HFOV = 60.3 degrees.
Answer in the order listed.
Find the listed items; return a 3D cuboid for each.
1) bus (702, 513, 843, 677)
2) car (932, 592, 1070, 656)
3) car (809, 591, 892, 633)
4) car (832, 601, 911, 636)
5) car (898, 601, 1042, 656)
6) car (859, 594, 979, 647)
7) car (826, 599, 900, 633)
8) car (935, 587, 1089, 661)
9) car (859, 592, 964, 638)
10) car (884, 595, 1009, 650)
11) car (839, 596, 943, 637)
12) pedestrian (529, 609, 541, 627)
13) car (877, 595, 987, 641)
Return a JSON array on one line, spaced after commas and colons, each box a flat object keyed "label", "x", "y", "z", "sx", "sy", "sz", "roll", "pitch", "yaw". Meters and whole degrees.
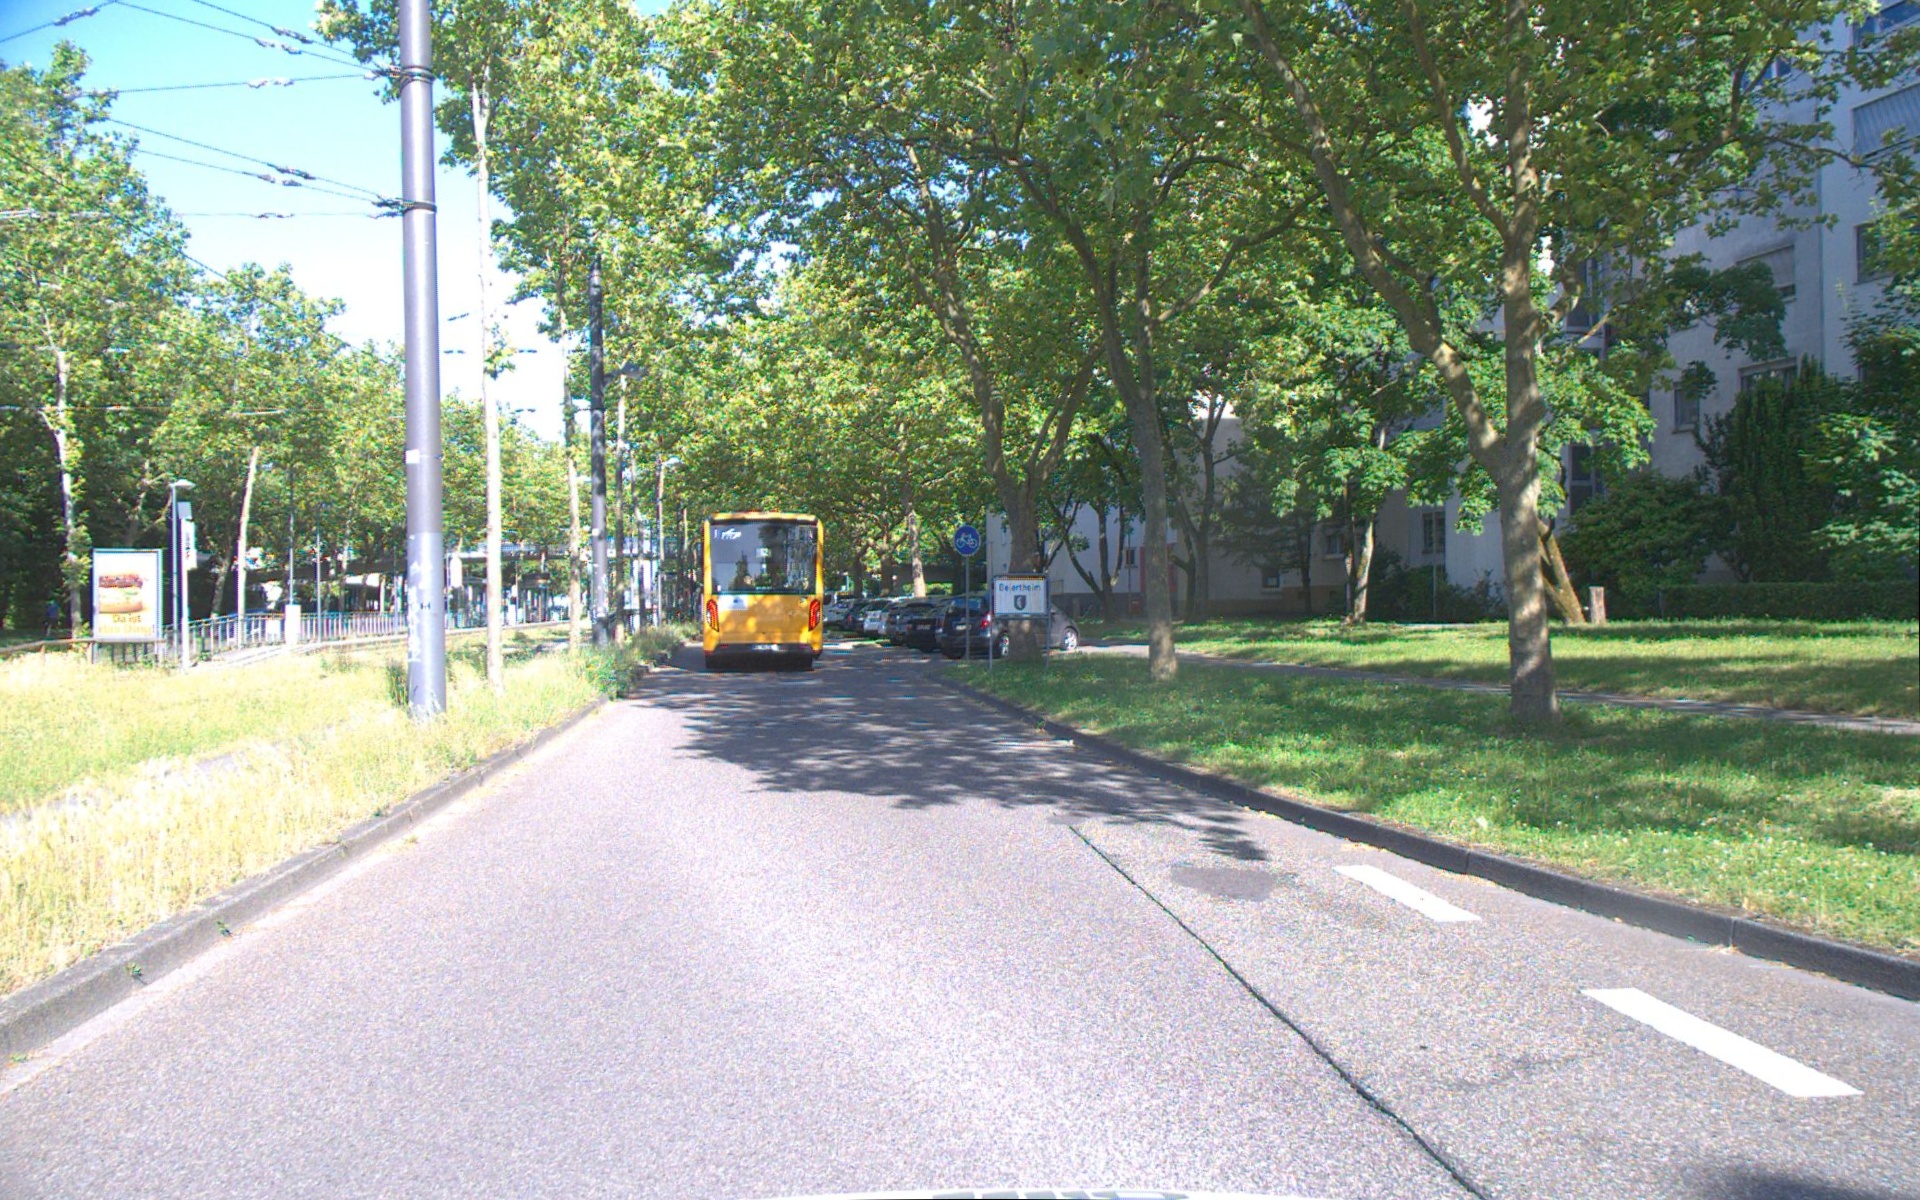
[{"label": "bus", "x": -4.734, "y": -0.077, "z": 39.944, "sx": 2.846, "sy": 3.324, "sz": 12.192, "roll": -1, "pitch": 0, "yaw": -9}, {"label": "car", "x": 1.118, "y": 0.612, "z": 43.537, "sx": 1.767, "sy": 1.518, "sz": 3.565, "roll": -2, "pitch": 0, "yaw": 40}, {"label": "car", "x": -6.159, "y": 0.671, "z": 93.786, "sx": 1.981, "sy": 2.088, "sz": 4.564, "roll": -3, "pitch": 0, "yaw": 42}, {"label": "car", "x": -4.491, "y": 0.922, "z": 84.499, "sx": 1.763, "sy": 1.536, "sz": 4.199, "roll": -3, "pitch": 0, "yaw": 34}, {"label": "car", "x": 0.327, "y": 0.774, "z": 46.369, "sx": 1.768, "sy": 1.341, "sz": 4.123, "roll": -2, "pitch": 0, "yaw": 41}, {"label": "car", "x": -1.285, "y": 0.646, "z": 53.649, "sx": 1.763, "sy": 1.536, "sz": 4.163, "roll": -2, "pitch": 0, "yaw": 35}, {"label": "car", "x": -5.300, "y": 0.868, "z": 90.704, "sx": 1.798, "sy": 1.607, "sz": 4.039, "roll": -3, "pitch": 0, "yaw": 39}, {"label": "car", "x": 1.294, "y": 0.561, "z": 40.172, "sx": 1.767, "sy": 1.620, "sz": 3.706, "roll": -2, "pitch": 0, "yaw": 41}, {"label": "car", "x": -1.825, "y": 0.569, "z": 63.539, "sx": 1.768, "sy": 1.603, "sz": 3.977, "roll": -2, "pitch": 0, "yaw": 41}, {"label": "car", "x": -0.366, "y": 0.675, "z": 50.196, "sx": 1.765, "sy": 1.471, "sz": 3.871, "roll": -2, "pitch": 0, "yaw": 38}, {"label": "car", "x": -2.810, "y": 0.665, "z": 68.129, "sx": 1.764, "sy": 1.447, "sz": 4.572, "roll": -2, "pitch": 0, "yaw": 37}, {"label": "pedestrian", "x": -29.886, "y": 1.232, "z": 116.234, "sx": 0.763, "sy": 1.259, "sz": 0.720, "roll": 0, "pitch": 0, "yaw": -9}, {"label": "car", "x": -0.978, "y": 0.634, "z": 59.782, "sx": 1.767, "sy": 1.469, "sz": 3.978, "roll": -2, "pitch": 0, "yaw": 41}]
